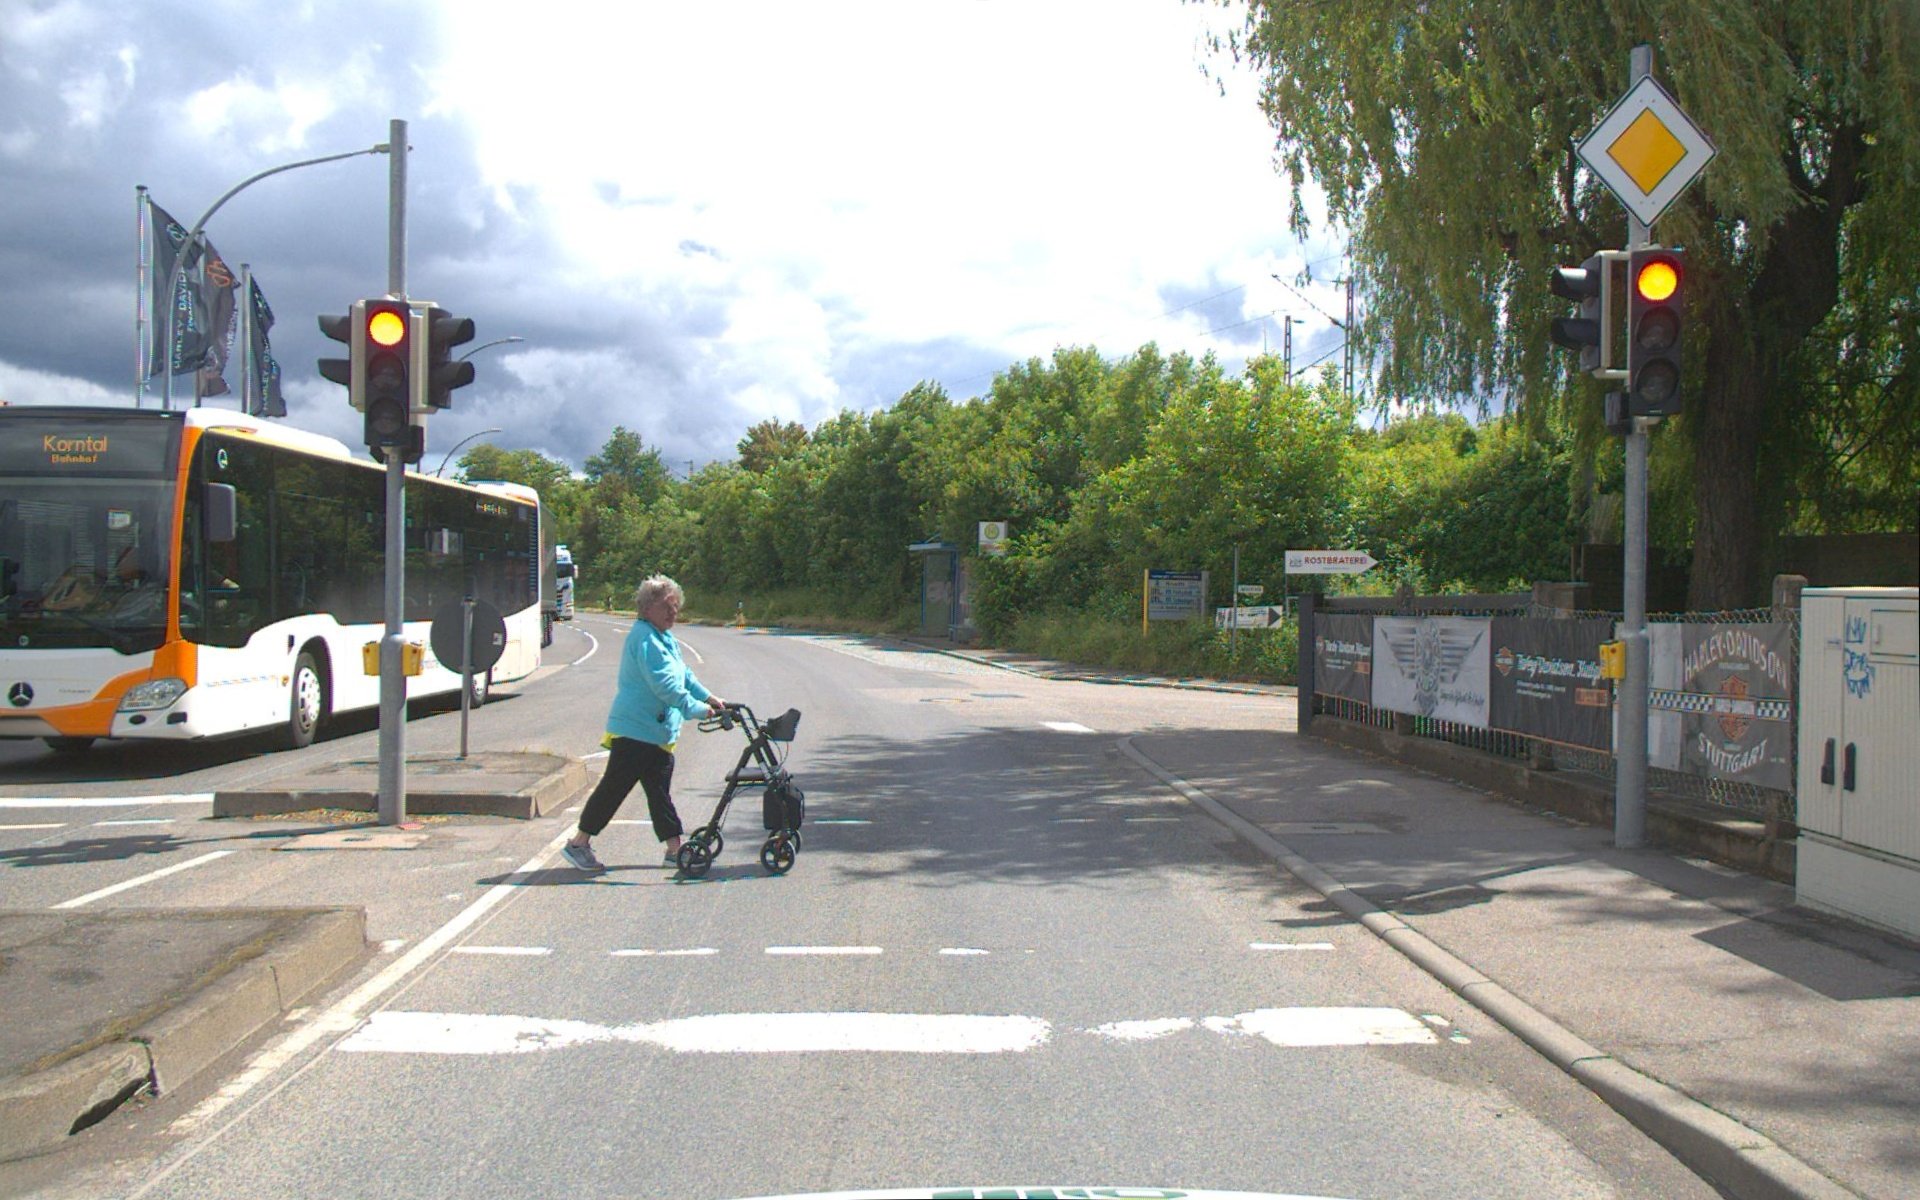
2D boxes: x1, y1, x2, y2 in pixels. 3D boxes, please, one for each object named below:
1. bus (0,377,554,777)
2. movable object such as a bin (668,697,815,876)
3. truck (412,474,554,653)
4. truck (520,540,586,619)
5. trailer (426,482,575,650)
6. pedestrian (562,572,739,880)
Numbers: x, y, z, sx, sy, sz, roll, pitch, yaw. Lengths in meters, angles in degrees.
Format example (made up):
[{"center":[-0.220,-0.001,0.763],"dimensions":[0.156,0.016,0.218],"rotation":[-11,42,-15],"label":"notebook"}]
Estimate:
[{"center":[-7.396,-0.158,18.894],"dimensions":[2.663,3.084,12.263],"rotation":[0,0,-1],"label":"bus"},{"center":[-1.162,0.989,8.916],"dimensions":[0.731,0.887,0.670],"rotation":[1,0,-4],"label":"movable object such as a bin"},{"center":[-11.929,-0.845,41.874],"dimensions":[2.748,4.124,6.484],"rotation":[1,0,-10],"label":"truck"},{"center":[-22.535,-1.122,91.477],"dimensions":[2.734,4.191,4.950],"rotation":[1,0,-23],"label":"truck"},{"center":[-13.203,-0.838,48.827],"dimensions":[2.748,4.124,15.517],"rotation":[1,0,-10],"label":"trailer"},{"center":[-1.640,0.652,8.878],"dimensions":[0.822,1.570,0.733],"rotation":[1,-1,-4],"label":"pedestrian"}]
